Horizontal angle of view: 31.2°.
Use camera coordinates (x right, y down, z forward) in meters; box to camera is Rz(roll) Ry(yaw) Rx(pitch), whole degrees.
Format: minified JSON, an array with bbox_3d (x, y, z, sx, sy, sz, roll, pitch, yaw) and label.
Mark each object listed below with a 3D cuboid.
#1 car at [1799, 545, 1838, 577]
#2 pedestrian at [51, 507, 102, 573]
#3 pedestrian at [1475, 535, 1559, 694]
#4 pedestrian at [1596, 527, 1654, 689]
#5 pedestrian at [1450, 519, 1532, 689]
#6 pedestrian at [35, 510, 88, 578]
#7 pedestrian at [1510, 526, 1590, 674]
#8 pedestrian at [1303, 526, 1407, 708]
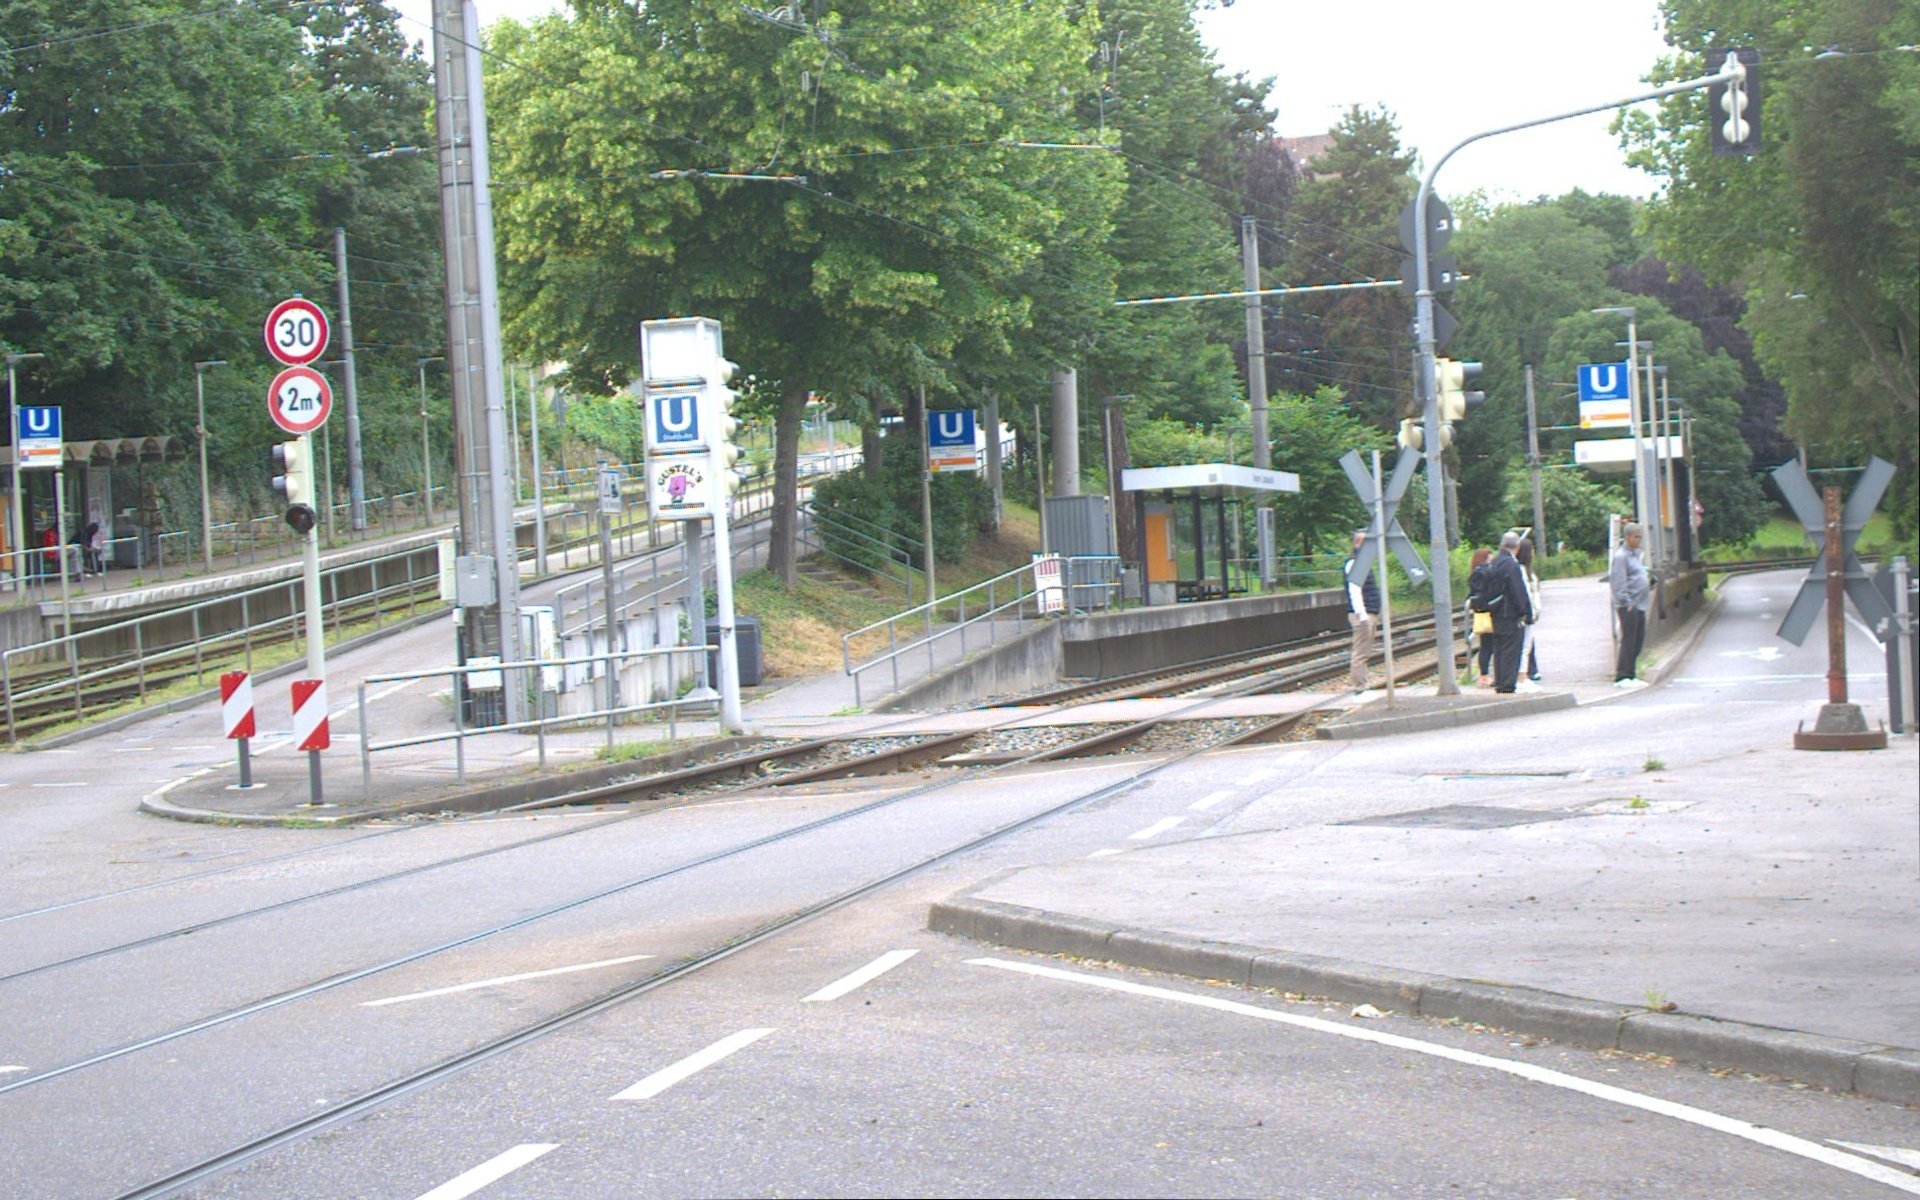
[{"bbox_3d":[42.822,-1.950,171.554,1.744,1.593,3.998,0,1,12],"label":"car"},{"bbox_3d":[-17.784,-1.200,69.230,0.772,1.321,0.787,0,1,5],"label":"pedestrian"},{"bbox_3d":[5.903,0.145,36.439,0.680,1.659,0.736,0,1,28],"label":"pedestrian"},{"bbox_3d":[7.265,0.084,37.546,0.550,1.752,0.737,0,1,17],"label":"pedestrian"},{"bbox_3d":[5.262,0.036,34.058,0.735,1.659,0.681,0,1,14],"label":"pedestrian"},{"bbox_3d":[-17.825,-1.108,68.205,0.772,1.321,0.787,0,3,5],"label":"pedestrian"},{"bbox_3d":[6.658,-0.006,38.810,0.680,1.659,0.736,0,1,29],"label":"pedestrian"},{"bbox_3d":[3.995,0.160,34.805,0.802,1.815,0.670,-1,1,-30],"label":"pedestrian"}]
